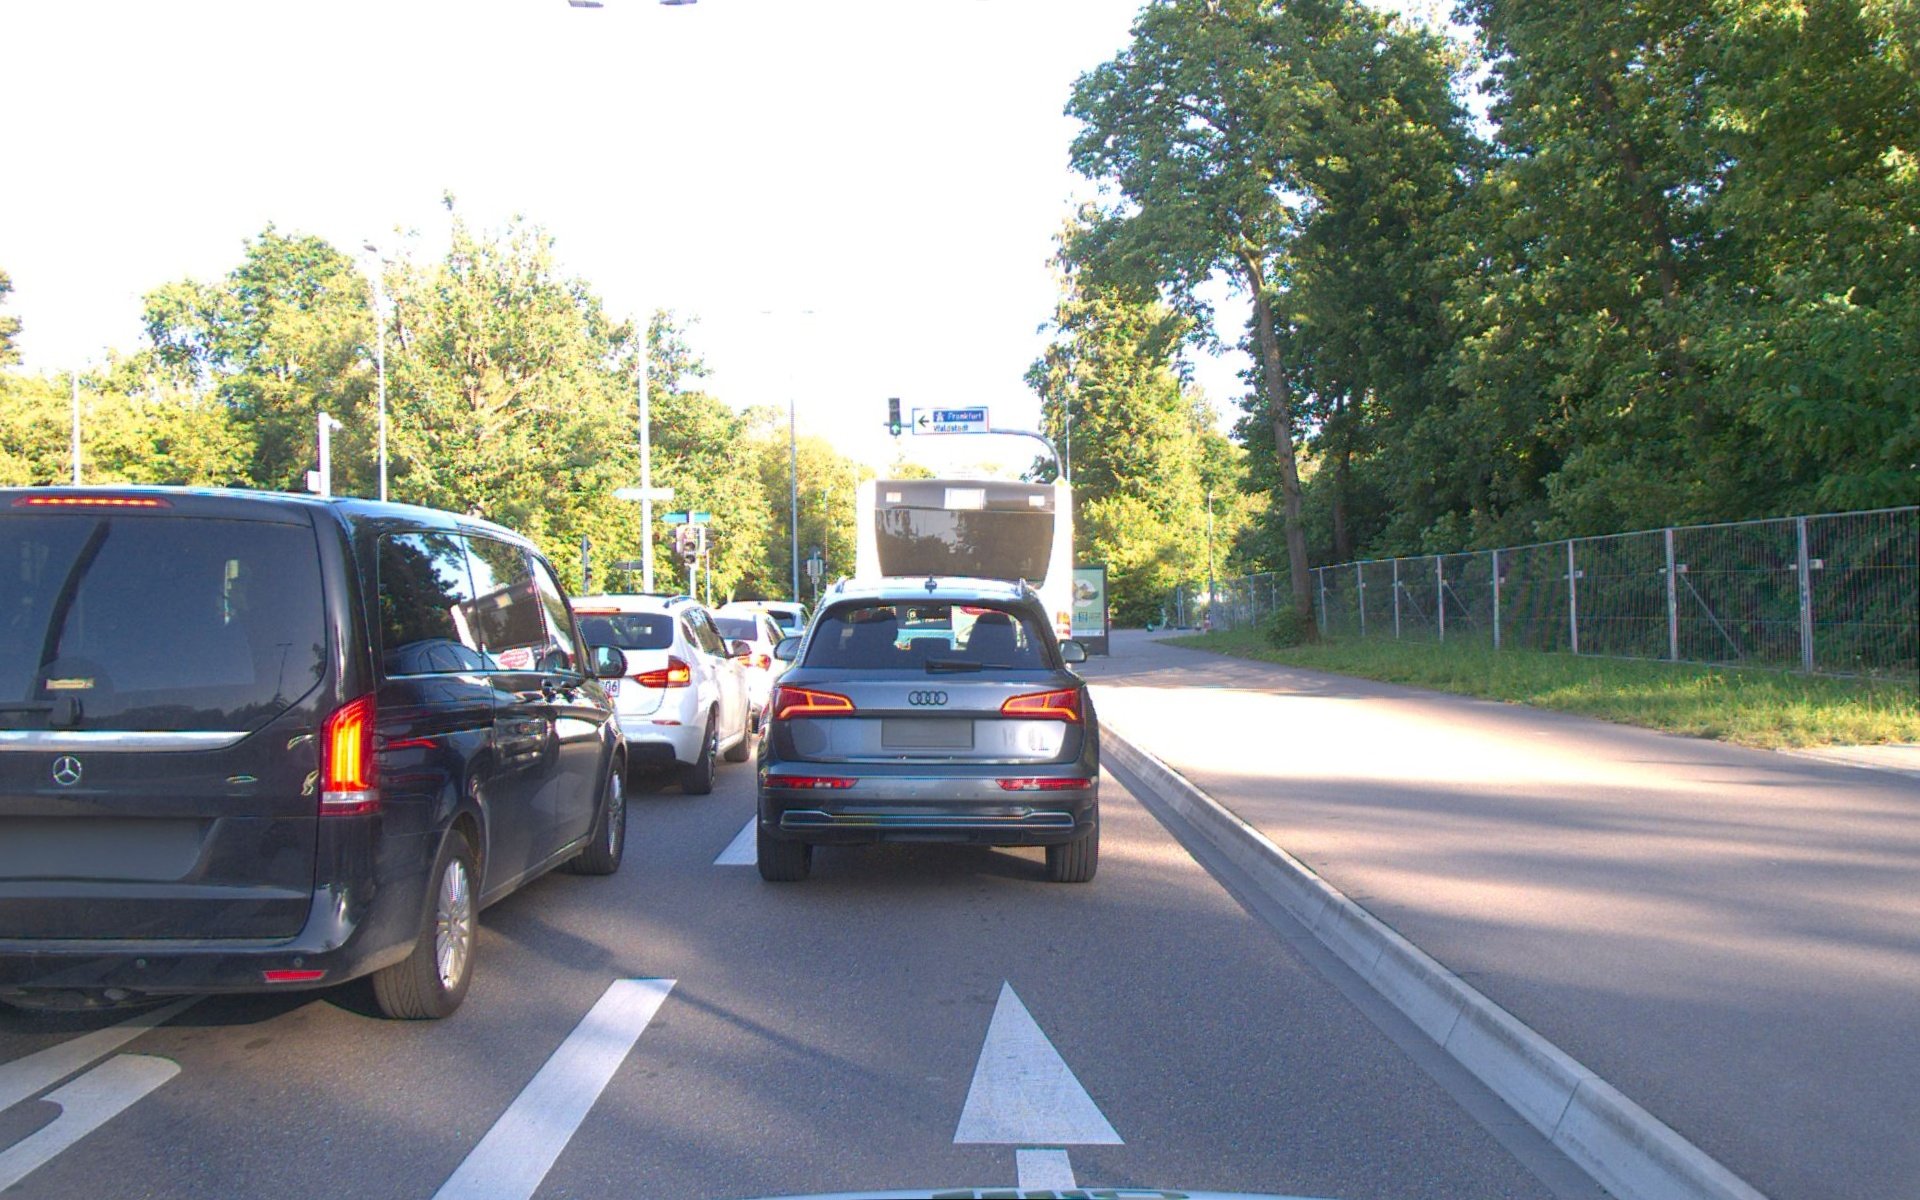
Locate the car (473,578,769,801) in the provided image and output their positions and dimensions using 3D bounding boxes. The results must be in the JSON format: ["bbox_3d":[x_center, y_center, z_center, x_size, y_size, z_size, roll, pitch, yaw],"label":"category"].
[{"bbox_3d":[-2.740,0.690,14.349,1.683,1.608,4.433,1,-1,-1],"label":"car"}]

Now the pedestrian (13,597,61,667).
[{"bbox_3d":[-22.200,0.769,39.805,0.681,1.654,0.789,1,-1,-1],"label":"pedestrian"}]

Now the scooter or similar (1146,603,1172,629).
[{"bbox_3d":[9.297,0.728,77.251,1.158,1.195,0.659,1,0,10],"label":"scooter or similar"}]

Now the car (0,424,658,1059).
[{"bbox_3d":[-2.710,0.425,7.389,1.868,1.888,4.872,1,0,-1],"label":"car"}]

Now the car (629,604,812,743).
[{"bbox_3d":[-2.841,0.820,20.460,1.749,1.469,4.276,1,0,-2],"label":"car"}]

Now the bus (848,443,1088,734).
[{"bbox_3d":[0.115,-0.148,21.383,2.623,3.197,5.882,1,0,0],"label":"bus"}]

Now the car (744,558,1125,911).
[{"bbox_3d":[-0.153,0.640,10.058,1.830,1.693,3.999,1,0,-1],"label":"car"}]

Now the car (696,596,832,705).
[{"bbox_3d":[-3.109,0.761,26.967,1.771,1.599,3.999,1,0,-1],"label":"car"}]

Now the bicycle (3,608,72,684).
[{"bbox_3d":[-22.213,1.093,39.861,0.603,1.780,1.992,1,-1,-3],"label":"bicycle"}]
